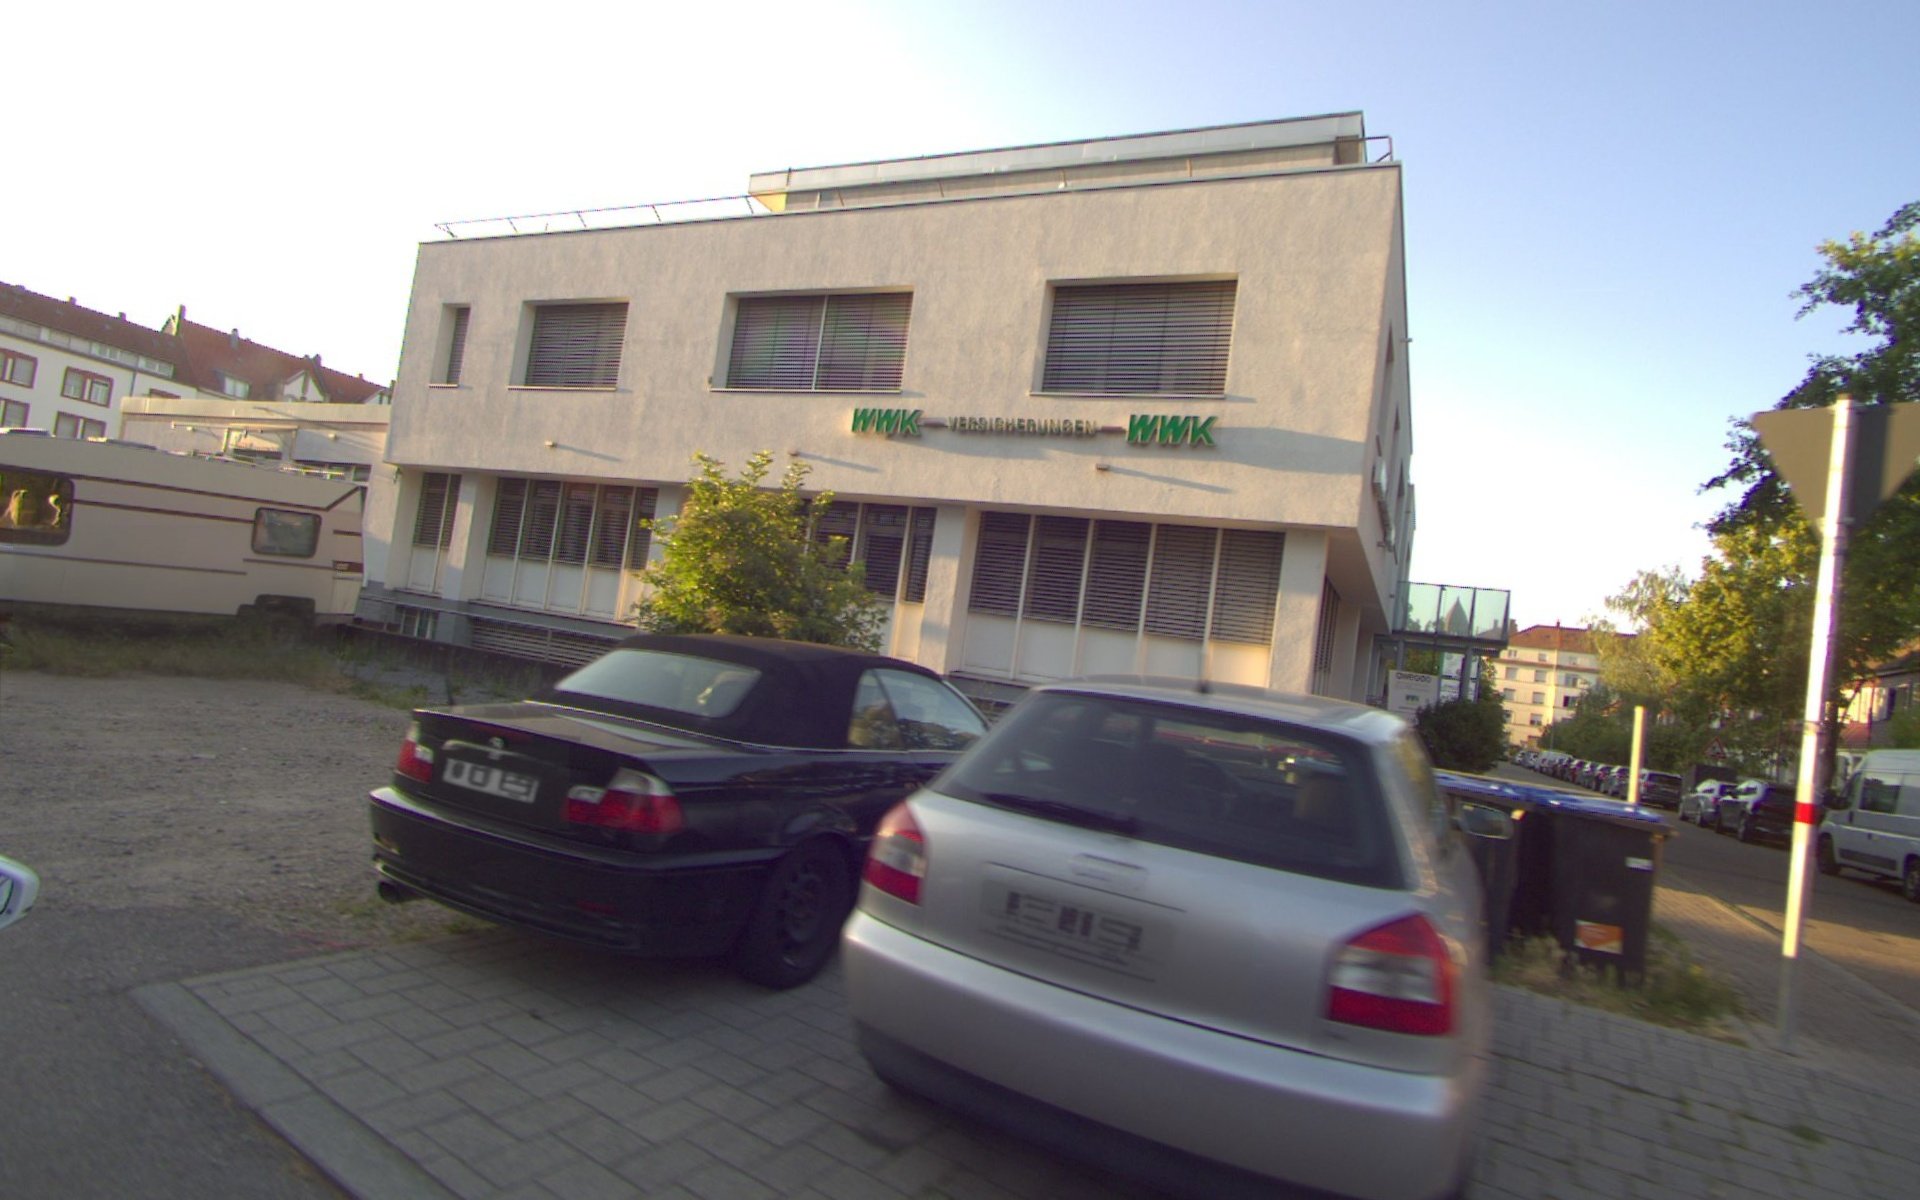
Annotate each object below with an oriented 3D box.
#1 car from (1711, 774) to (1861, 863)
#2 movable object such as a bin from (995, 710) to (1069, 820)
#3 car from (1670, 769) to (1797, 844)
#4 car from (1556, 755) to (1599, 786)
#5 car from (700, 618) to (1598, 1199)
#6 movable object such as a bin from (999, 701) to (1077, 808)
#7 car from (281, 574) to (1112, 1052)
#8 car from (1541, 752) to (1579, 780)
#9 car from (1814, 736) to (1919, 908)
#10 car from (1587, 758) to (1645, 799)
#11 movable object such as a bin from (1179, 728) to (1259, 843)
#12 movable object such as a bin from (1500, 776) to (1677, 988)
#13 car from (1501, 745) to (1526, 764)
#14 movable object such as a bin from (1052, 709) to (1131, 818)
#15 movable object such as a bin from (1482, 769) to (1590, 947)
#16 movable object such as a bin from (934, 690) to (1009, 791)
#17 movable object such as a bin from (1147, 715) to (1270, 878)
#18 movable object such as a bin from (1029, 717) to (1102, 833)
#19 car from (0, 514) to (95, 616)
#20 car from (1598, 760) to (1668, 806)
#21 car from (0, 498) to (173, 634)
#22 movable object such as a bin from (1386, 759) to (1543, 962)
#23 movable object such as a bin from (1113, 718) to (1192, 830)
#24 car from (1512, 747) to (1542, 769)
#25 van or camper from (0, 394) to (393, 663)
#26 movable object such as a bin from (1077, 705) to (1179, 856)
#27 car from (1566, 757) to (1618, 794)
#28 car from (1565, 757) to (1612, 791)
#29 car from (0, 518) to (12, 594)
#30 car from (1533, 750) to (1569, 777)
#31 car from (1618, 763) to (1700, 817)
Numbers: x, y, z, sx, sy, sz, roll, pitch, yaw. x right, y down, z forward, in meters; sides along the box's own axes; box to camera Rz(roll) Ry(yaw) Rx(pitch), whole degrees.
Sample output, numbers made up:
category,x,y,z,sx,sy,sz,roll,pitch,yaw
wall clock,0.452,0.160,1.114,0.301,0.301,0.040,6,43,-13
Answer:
category,x,y,z,sx,sy,sz,roll,pitch,yaw
car,21.027,5.515,25.805,1.923,1.572,3.612,8,-3,25
movable object such as a bin,0.631,1.417,8.743,0.389,0.867,0.501,7,-3,24
car,23.228,6.158,30.410,1.923,1.572,4.268,8,-3,25
car,40.106,11.067,65.415,1.777,1.572,3.612,8,-3,25
car,1.143,1.047,4.018,1.863,1.423,4.067,7,-2,28
movable object such as a bin,0.767,1.498,9.857,0.517,0.942,0.468,6,-2,28
car,-0.818,0.870,5.481,1.863,1.348,4.329,6,-3,27
car,43.235,11.956,72.554,1.777,1.572,3.612,8,-3,25
car,16.416,3.726,16.584,2.060,2.587,4.758,8,-3,25
car,33.449,9.068,51.369,1.777,1.572,3.612,8,-3,25
movable object such as a bin,2.370,1.675,9.189,0.517,0.942,0.468,6,-2,28
movable object such as a bin,3.755,1.655,6.067,0.698,1.032,0.646,7,-3,21
car,57.552,16.047,104.701,1.777,1.572,3.612,8,-3,25
movable object such as a bin,1.268,1.555,9.679,0.517,0.942,0.468,6,-2,28
movable object such as a bin,3.869,1.709,6.793,0.438,1.032,0.646,7,-3,21
movable object such as a bin,0.125,1.443,10.415,0.517,0.942,0.468,6,-2,28
movable object such as a bin,1.857,1.424,7.462,0.698,1.032,0.708,7,-3,21
movable object such as a bin,0.872,1.430,8.287,0.389,0.867,0.416,7,-3,24
car,-16.973,-0.789,16.316,1.682,1.581,4.018,6,-3,26
car,31.264,8.463,46.849,1.923,1.572,3.612,8,-3,25
car,-14.487,-0.652,14.649,1.936,1.760,4.248,6,-3,33
movable object such as a bin,3.137,1.587,6.327,0.698,1.032,0.759,7,-3,21
movable object such as a bin,1.811,1.613,9.430,0.517,0.942,0.468,6,-2,28
car,51.525,14.353,91.493,1.777,1.572,4.617,8,-3,24
van or camper,-11.529,-0.862,13.875,2.444,2.896,5.797,6,-3,28
movable object such as a bin,1.315,1.370,7.794,0.551,1.032,0.624,7,-3,21
car,35.296,9.787,56.266,1.777,1.572,3.612,8,-3,25
car,38.181,10.523,61.189,1.777,1.572,3.612,8,-3,25
car,-20.568,-1.136,18.793,1.682,1.495,3.716,6,-3,28
car,45.098,12.473,76.826,1.777,1.572,3.612,8,-3,25
car,28.085,7.591,40.544,1.923,1.572,3.612,8,-3,25
